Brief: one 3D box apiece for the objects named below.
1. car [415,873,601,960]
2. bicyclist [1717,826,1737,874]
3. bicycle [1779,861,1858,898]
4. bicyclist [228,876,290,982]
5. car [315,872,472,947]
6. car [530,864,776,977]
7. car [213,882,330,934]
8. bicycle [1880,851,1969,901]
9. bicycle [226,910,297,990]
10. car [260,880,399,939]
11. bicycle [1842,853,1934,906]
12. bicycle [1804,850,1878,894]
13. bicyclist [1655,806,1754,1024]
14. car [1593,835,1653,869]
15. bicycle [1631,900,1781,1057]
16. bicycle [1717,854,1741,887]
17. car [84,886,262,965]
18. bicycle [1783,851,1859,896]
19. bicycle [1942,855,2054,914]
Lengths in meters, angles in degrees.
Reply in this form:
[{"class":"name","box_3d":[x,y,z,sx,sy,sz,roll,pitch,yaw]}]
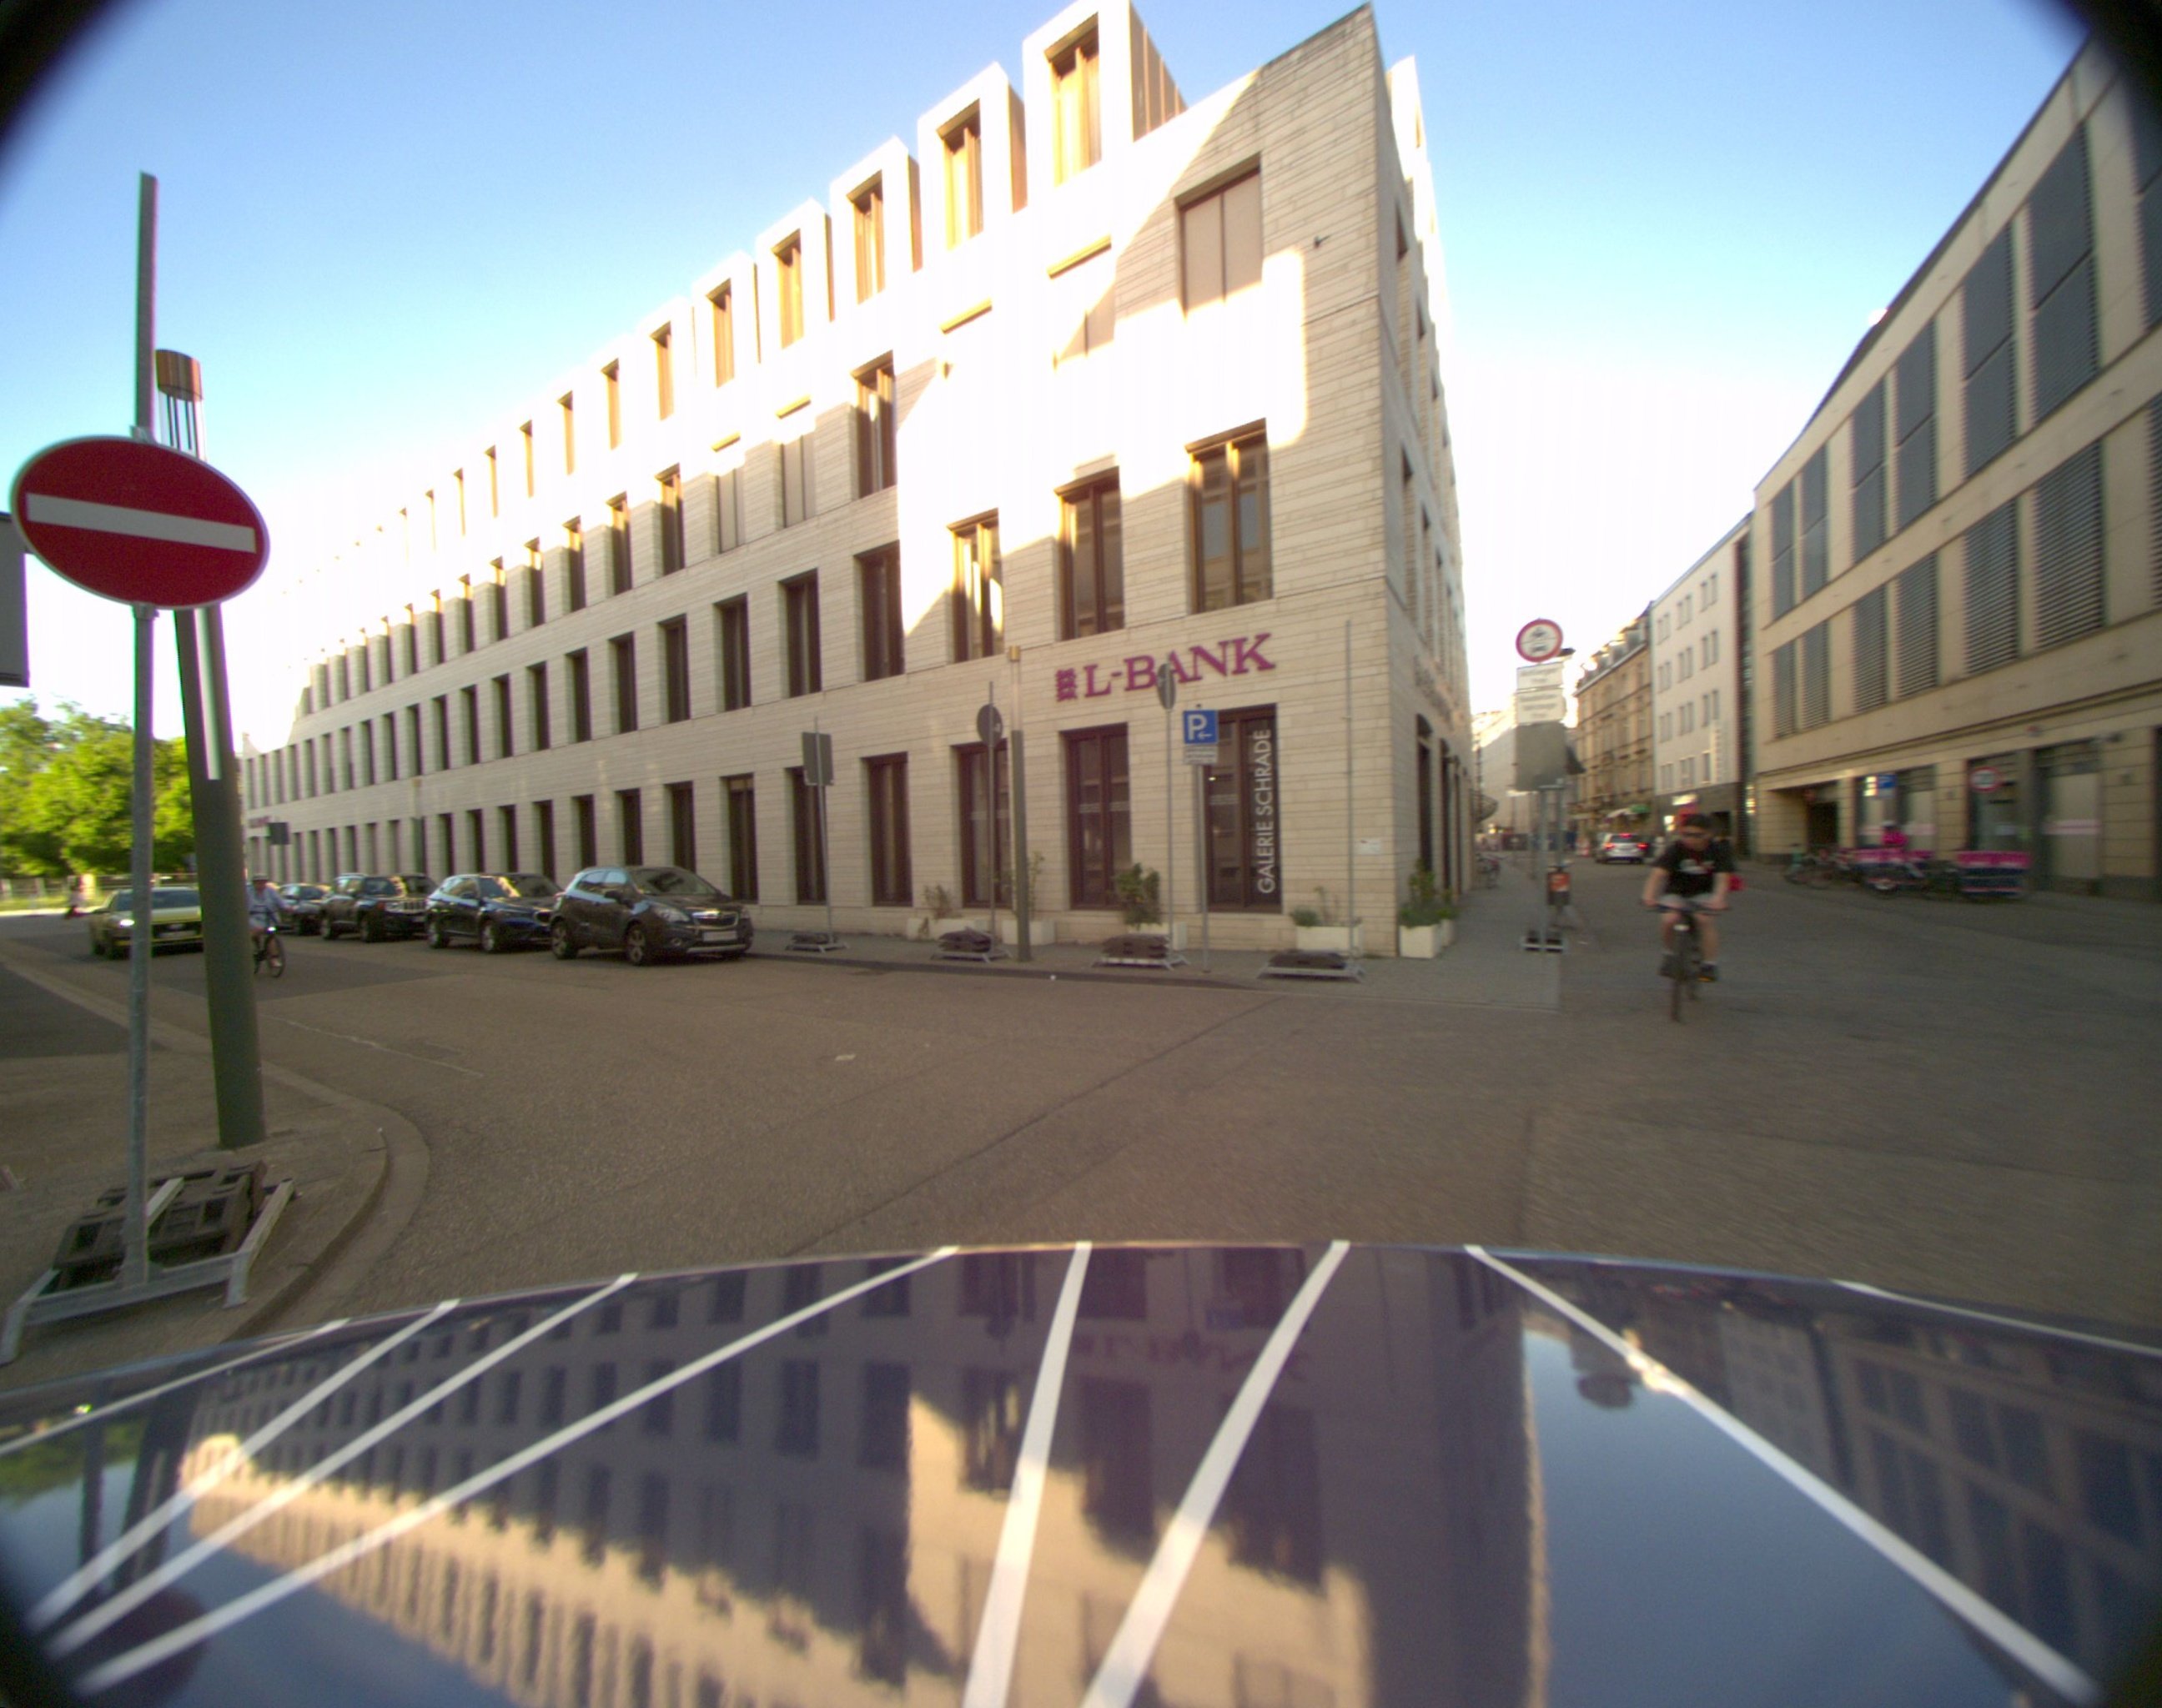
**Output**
[{"class":"car","box_3d":[-12.106,1.236,15.993,4.142,1.585,1.749,-2,-1,32]},{"class":"bicyclist","box_3d":[22.216,-0.159,26.132,0.496,1.616,0.633,0,3,38]},{"class":"bicycle","box_3d":[20.202,0.688,20.859,1.514,0.947,0.353,0,3,37]},{"class":"bicyclist","box_3d":[-13.741,1.235,12.706,0.536,1.680,0.587,1,3,39]},{"class":"car","box_3d":[-17.525,1.356,19.349,4.007,1.704,1.832,-2,-1,30]},{"class":"car","box_3d":[-7.473,1.051,13.169,4.252,1.667,1.832,-2,-1,31]},{"class":"car","box_3d":[-27.171,1.751,25.478,4.434,1.532,1.832,-2,0,32]},{"class":"bicycle","box_3d":[21.901,0.558,19.748,0.353,1.243,1.514,-4,3,-41]},{"class":"bicycle","box_3d":[-13.653,1.550,12.644,2.304,1.077,0.597,0,3,39]},{"class":"car","box_3d":[-22.556,1.612,22.786,4.252,1.533,1.831,-2,1,30]},{"class":"bicycle","box_3d":[19.740,0.605,18.618,0.353,1.243,1.514,-4,3,-41]},{"class":"bicycle","box_3d":[22.494,0.508,22.524,1.514,1.243,0.353,1,3,44]},{"class":"bicyclist","box_3d":[5.158,0.473,6.316,0.500,1.722,0.552,0,3,24]},{"class":"car","box_3d":[28.996,-0.160,40.800,2.172,1.653,4.006,0,2,29]},{"class":"bicycle","box_3d":[5.231,0.968,6.476,0.510,0.968,1.823,0,2,24]},{"class":"bicycle","box_3d":[22.107,0.530,25.939,0.517,0.989,2.113,0,3,38]},{"class":"car","box_3d":[-21.758,1.616,18.177,4.424,1.451,2.003,0,2,31]},{"class":"bicycle","box_3d":[21.044,0.535,21.631,1.514,1.243,0.353,0,3,40]},{"class":"bicycle","box_3d":[20.309,0.650,16.862,1.515,1.243,0.353,0,3,36]}]
